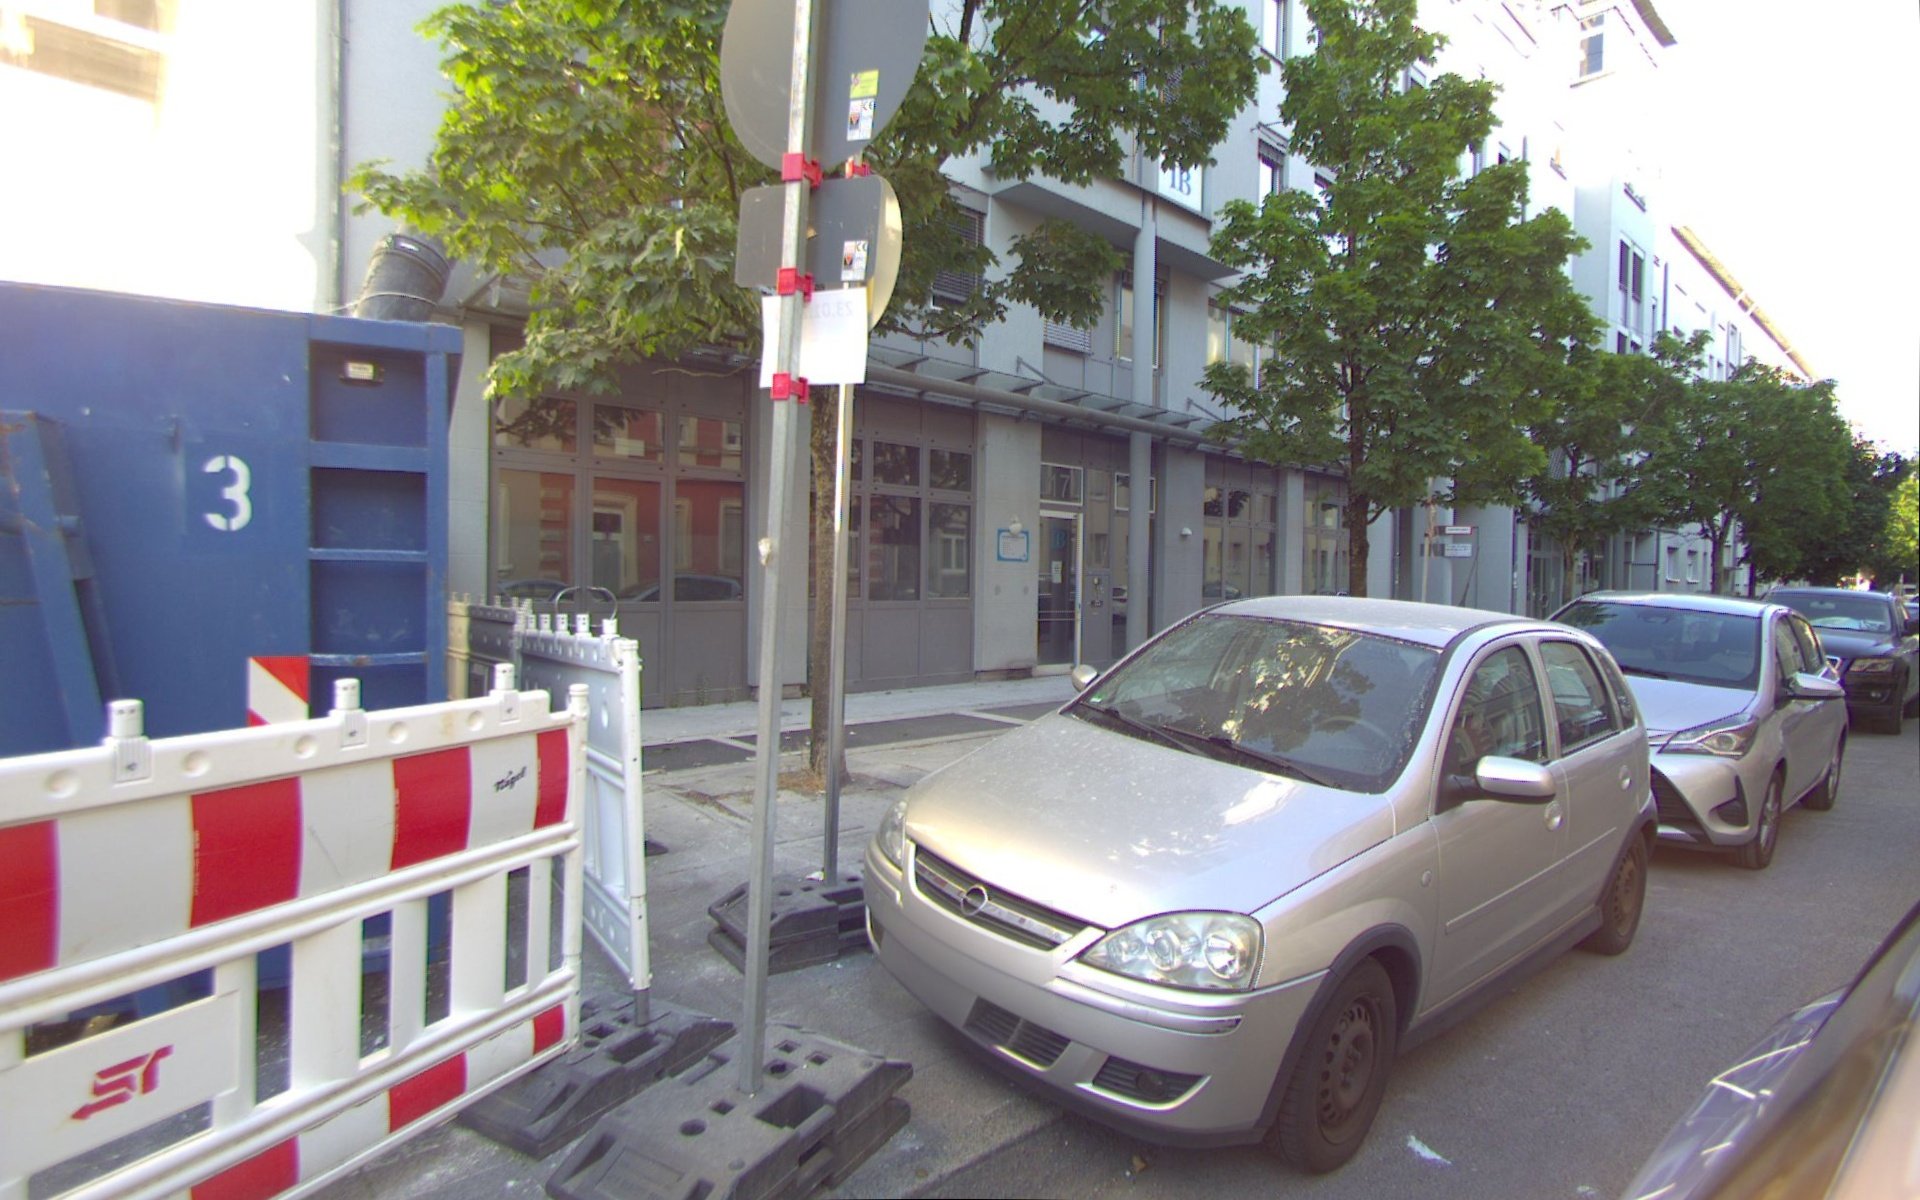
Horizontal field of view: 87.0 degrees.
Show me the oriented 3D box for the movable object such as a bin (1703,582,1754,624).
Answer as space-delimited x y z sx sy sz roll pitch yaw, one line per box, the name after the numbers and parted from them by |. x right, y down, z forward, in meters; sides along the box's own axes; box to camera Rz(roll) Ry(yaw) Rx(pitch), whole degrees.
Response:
28.220 0.110 37.165 1.120 1.454 1.263 0 3 -43 | movable object such as a bin

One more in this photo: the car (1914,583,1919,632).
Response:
34.879 0.289 35.473 4.646 1.655 1.873 -1 4 -45 | car

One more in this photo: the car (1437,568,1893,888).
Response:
5.004 0.610 6.975 3.902 1.543 1.679 0 3 -42 | car

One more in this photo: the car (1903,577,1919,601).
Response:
96.750 -1.104 101.371 2.147 2.311 6.135 3 3 33 | car

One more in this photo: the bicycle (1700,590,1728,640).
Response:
19.222 0.369 25.815 0.519 1.182 1.718 3 3 36 | bicycle

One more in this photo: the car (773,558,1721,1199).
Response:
1.336 0.650 3.847 3.664 1.493 1.680 0 3 -40 | car

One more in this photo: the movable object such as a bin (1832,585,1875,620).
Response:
40.164 0.099 45.499 1.202 1.454 1.286 0 3 -43 | movable object such as a bin

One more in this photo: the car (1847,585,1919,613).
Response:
59.919 -0.050 65.208 1.968 1.584 3.991 0 4 -44 | car

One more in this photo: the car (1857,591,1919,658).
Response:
22.945 0.551 24.221 4.272 1.446 1.766 -1 3 -43 | car

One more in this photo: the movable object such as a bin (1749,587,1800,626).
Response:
29.274 0.226 36.371 1.120 1.337 1.263 0 3 -43 | movable object such as a bin

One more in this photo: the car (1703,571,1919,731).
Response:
11.234 0.515 13.016 4.360 1.642 1.888 0 3 -43 | car
